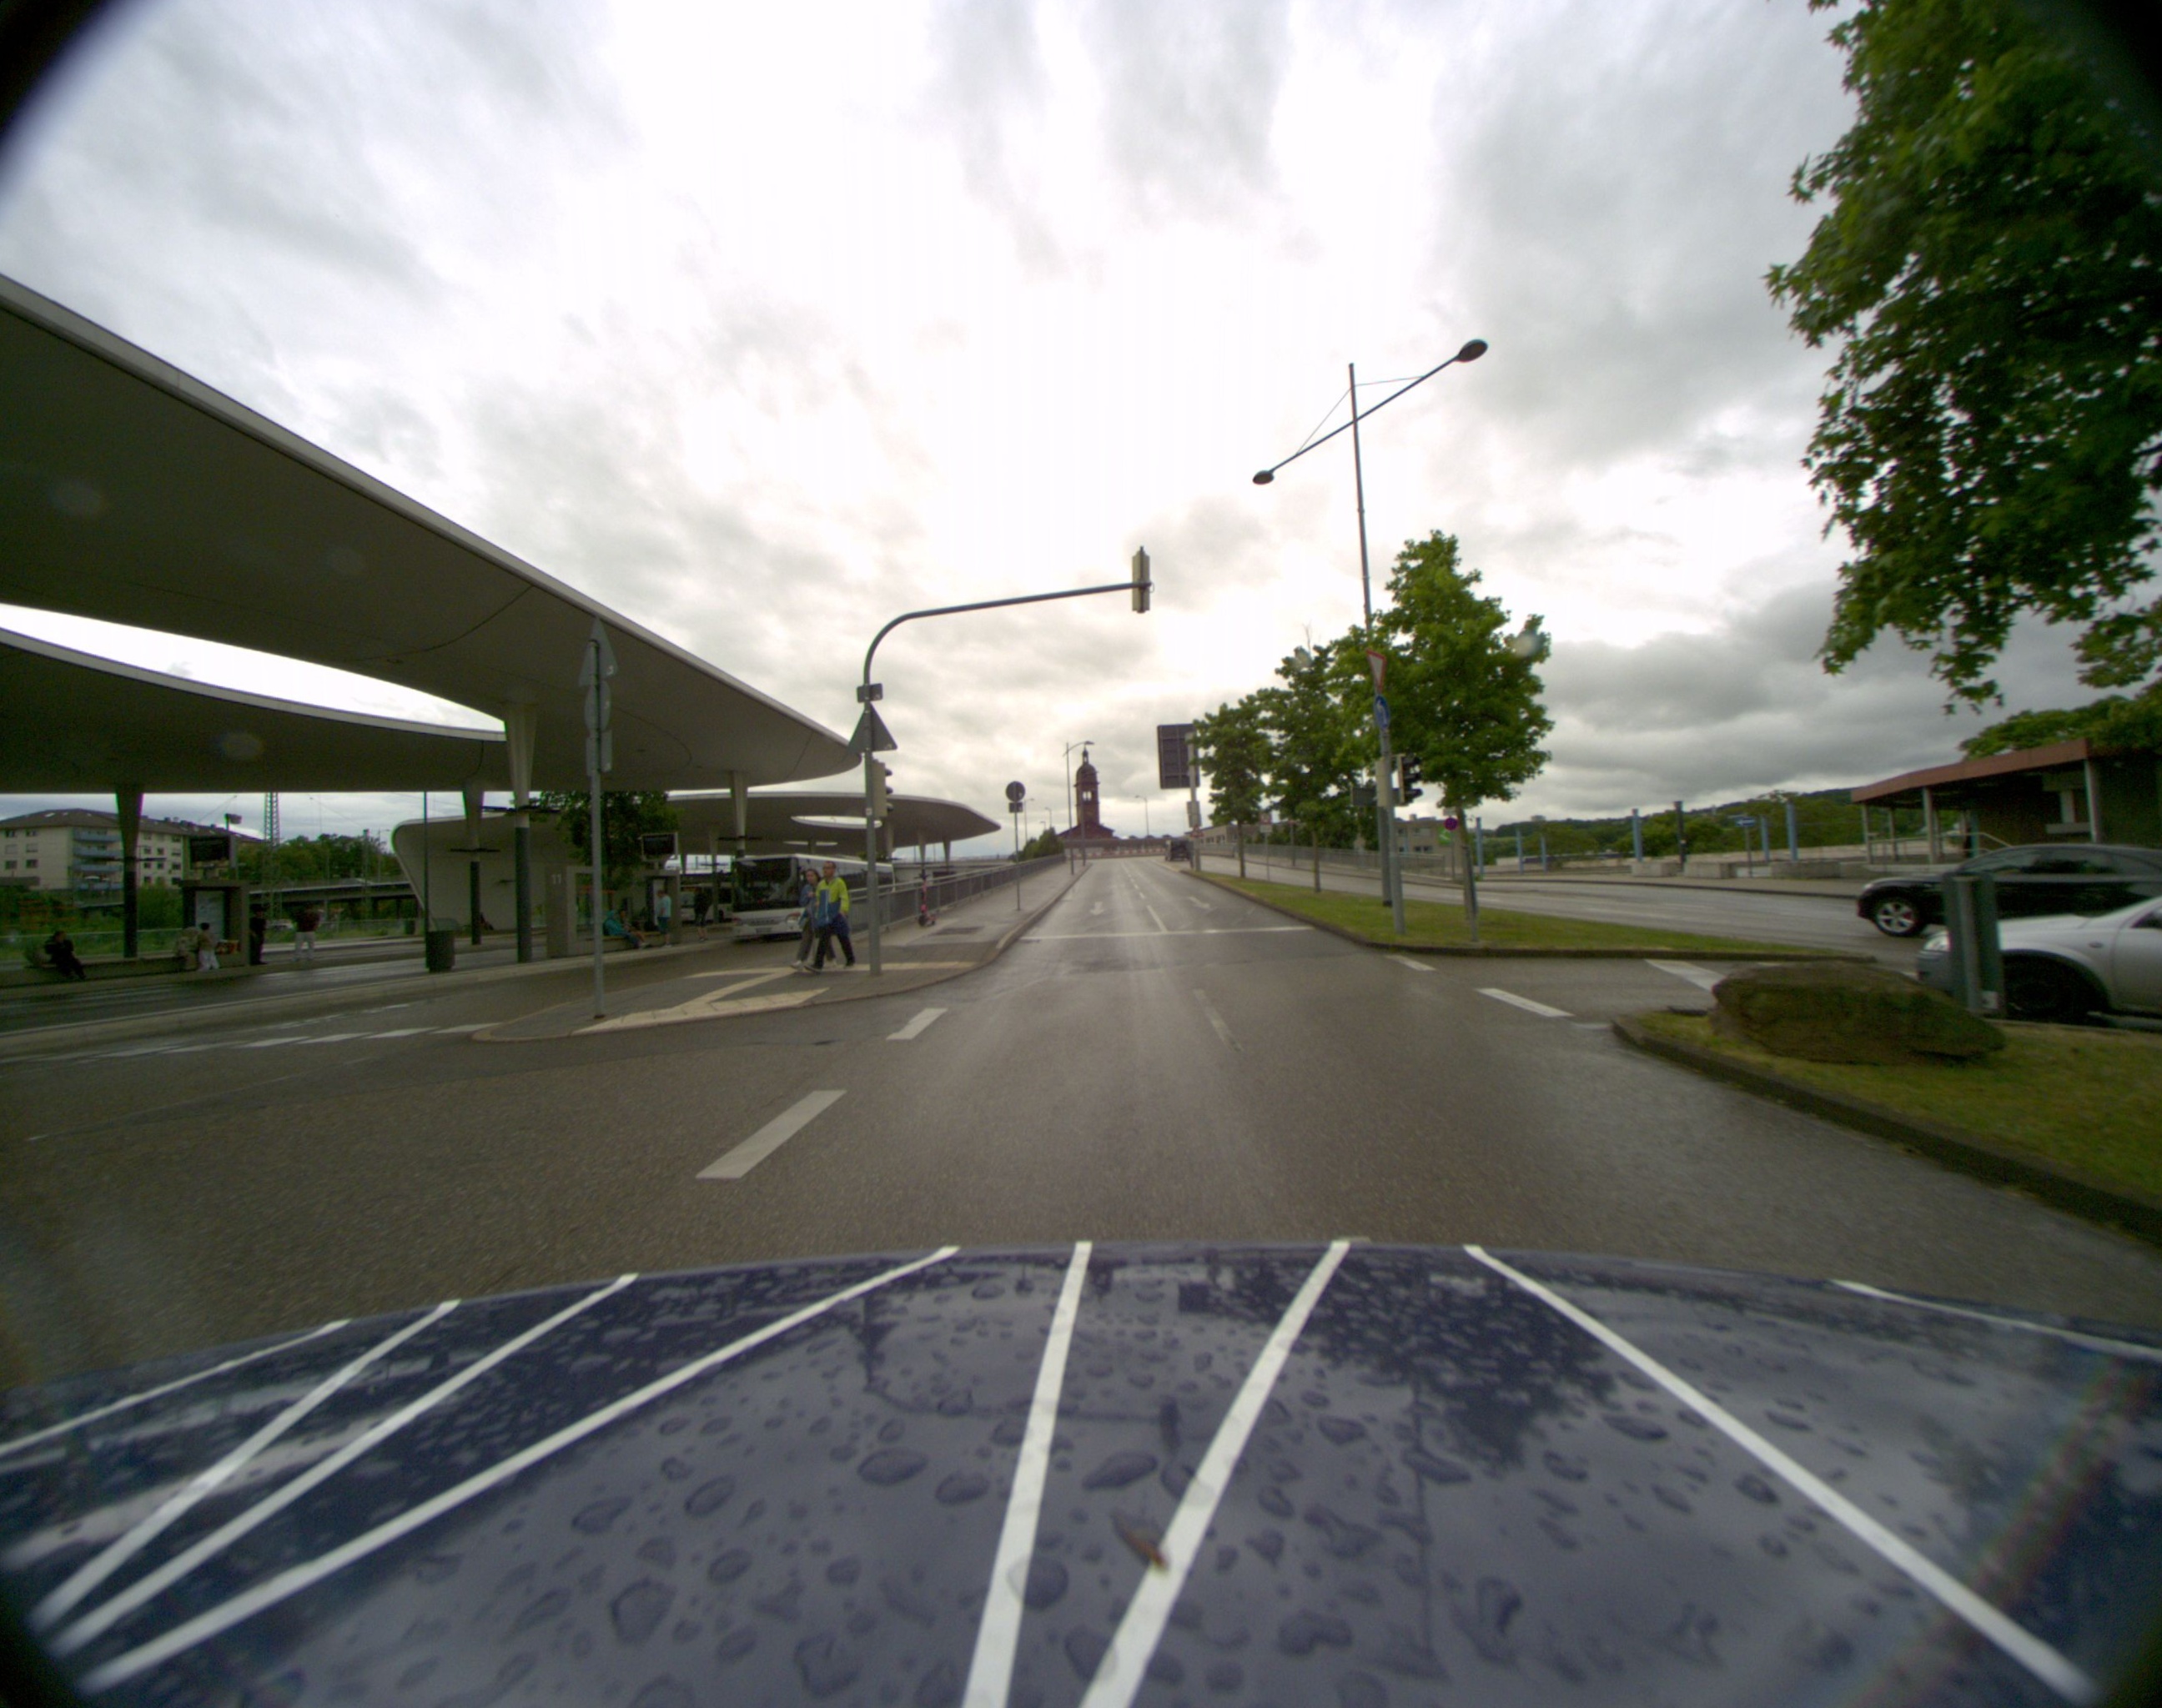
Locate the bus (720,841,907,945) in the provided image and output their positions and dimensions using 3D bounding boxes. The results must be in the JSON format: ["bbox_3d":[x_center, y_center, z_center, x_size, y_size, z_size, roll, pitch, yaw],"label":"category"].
[{"bbox_3d":[-10.662,1.653,32.394,2.851,3.340,12.434,-5,-3,2],"label":"bus"}]

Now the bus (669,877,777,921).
[{"bbox_3d":[-29.559,3.603,63.648,2.795,3.237,12.146,-2,-2,3],"label":"bus"}]

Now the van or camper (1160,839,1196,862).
[{"bbox_3d":[9.182,-0.347,72.273,2.223,2.061,5.280,0,1,-6],"label":"van or camper"}]

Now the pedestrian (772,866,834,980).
[{"bbox_3d":[-4.293,1.054,11.769,0.590,1.661,0.580,-4,3,2],"label":"pedestrian"}]

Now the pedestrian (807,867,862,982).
[{"bbox_3d":[-3.747,1.054,11.578,0.523,1.661,0.580,-3,1,2],"label":"pedestrian"}]

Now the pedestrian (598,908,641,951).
[{"bbox_3d":[-13.775,2.254,22.712,0.954,1.247,0.648,2,-4,-21],"label":"pedestrian"}]

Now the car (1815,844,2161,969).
[{"bbox_3d":[15.512,0.699,12.453,1.914,1.652,4.853,-2,1,-9],"label":"car"}]

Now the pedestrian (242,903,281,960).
[{"bbox_3d":[-24.341,2.300,22.580,0.570,1.644,0.558,-1,-1,9],"label":"pedestrian"}]

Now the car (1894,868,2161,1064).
[{"bbox_3d":[8.995,0.825,5.581,1.640,1.440,3.867,0,-1,-31],"label":"car"}]

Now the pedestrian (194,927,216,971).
[{"bbox_3d":[-23.782,2.570,20.629,0.395,1.138,0.364,-2,-2,44],"label":"pedestrian"}]

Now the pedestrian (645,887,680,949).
[{"bbox_3d":[-12.799,1.951,23.255,0.585,1.874,0.650,0,-3,13],"label":"pedestrian"}]

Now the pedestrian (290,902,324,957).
[{"bbox_3d":[-24.096,2.333,23.653,0.644,1.644,0.638,0,-2,-37],"label":"pedestrian"}]

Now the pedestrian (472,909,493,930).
[{"bbox_3d":[-43.122,4.721,54.766,0.800,1.317,0.712,-5,2,8],"label":"pedestrian"}]

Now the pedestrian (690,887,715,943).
[{"bbox_3d":[-12.863,2.063,25.809,0.650,1.892,0.585,3,-4,-33],"label":"pedestrian"}]

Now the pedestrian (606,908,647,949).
[{"bbox_3d":[-14.033,2.299,23.471,0.954,1.247,0.648,2,-4,-21],"label":"pedestrian"}]

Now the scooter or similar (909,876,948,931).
[{"bbox_3d":[-3.630,1.159,18.236,0.465,1.213,1.860,-2,-1,2],"label":"scooter or similar"}]

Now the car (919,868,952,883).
[{"bbox_3d":[-22.874,3.416,119.450,4.682,1.956,2.115,-4,-1,-1],"label":"car"}]

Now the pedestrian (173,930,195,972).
[{"bbox_3d":[-24.048,2.594,20.369,0.391,1.074,0.353,-2,-2,44],"label":"pedestrian"}]

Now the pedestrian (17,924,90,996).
[{"bbox_3d":[-24.414,2.506,18.067,0.590,1.581,0.677,-5,2,-1],"label":"pedestrian"}]
